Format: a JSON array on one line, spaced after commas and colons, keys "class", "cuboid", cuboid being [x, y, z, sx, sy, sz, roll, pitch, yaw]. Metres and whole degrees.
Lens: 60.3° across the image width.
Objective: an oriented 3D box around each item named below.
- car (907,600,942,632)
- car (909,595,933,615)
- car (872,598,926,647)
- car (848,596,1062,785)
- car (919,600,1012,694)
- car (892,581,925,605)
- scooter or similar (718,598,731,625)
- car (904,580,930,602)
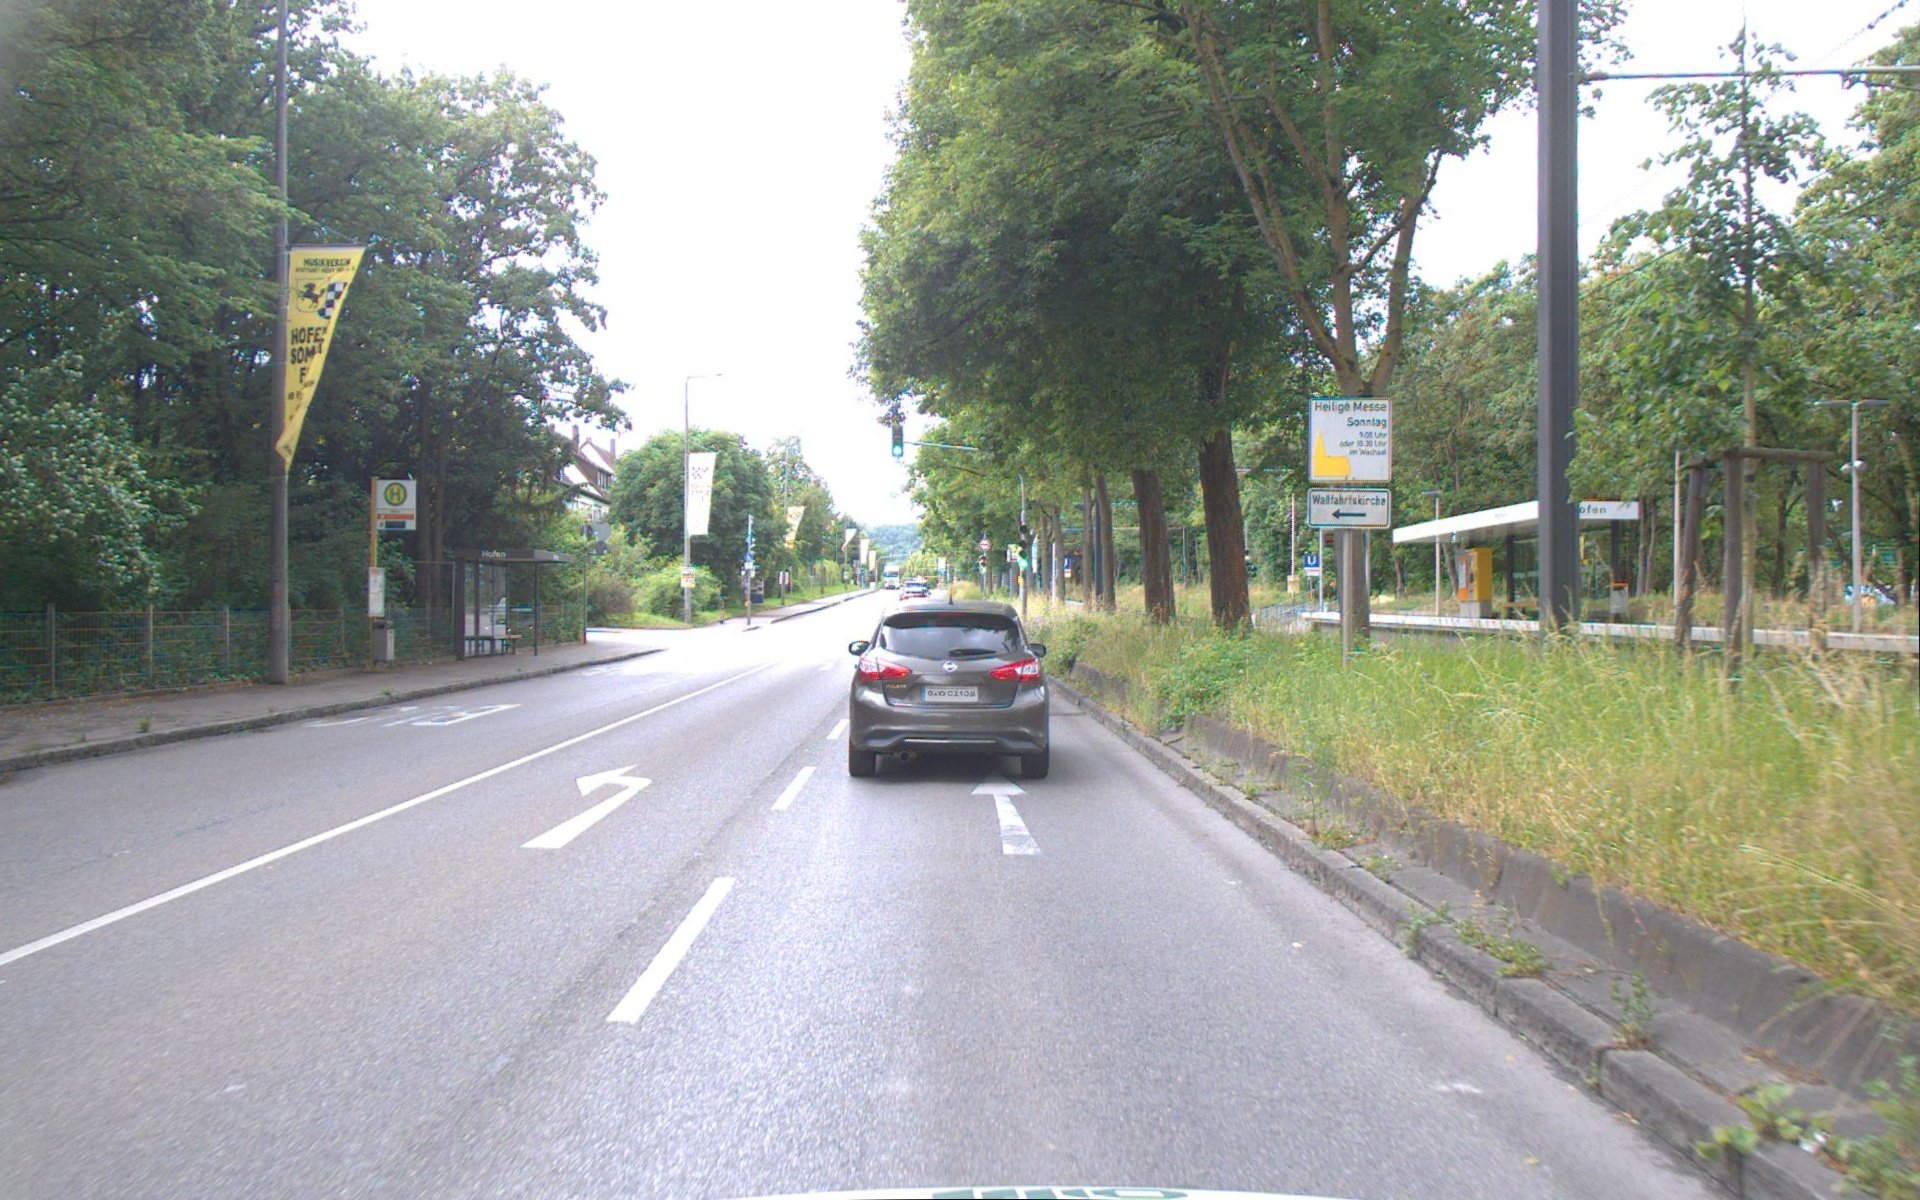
[{"class": "car", "cuboid": [-1.717, 0.765, 80.461, 1.657, 1.466, 3.540, 1, 0, -1]}, {"class": "car", "cuboid": [-2.851, 0.358, 121.232, 1.657, 1.466, 3.540, 1, 0, -1]}, {"class": "car", "cuboid": [-1.901, 0.684, 52.240, 1.657, 1.466, 3.540, 1, 0, -1]}, {"class": "car", "cuboid": [-0.063, 0.742, 15.363, 1.747, 1.533, 3.695, 0, 0, -1]}, {"class": "car", "cuboid": [0.054, 0.751, 28.230, 1.471, 1.466, 3.540, 1, 0, -1]}, {"class": "car", "cuboid": [-3.142, -0.427, 102.152, 1.953, 1.344, 3.999, 2, -1, -1]}, {"class": "scooter or similar", "cuboid": [-11.382, 0.555, 79.942, 0.453, 1.281, 1.426, 1, 0, 0]}, {"class": "car", "cuboid": [-3.343, -0.656, 130.145, 1.953, 1.601, 3.999, 2, -1, -1]}]
